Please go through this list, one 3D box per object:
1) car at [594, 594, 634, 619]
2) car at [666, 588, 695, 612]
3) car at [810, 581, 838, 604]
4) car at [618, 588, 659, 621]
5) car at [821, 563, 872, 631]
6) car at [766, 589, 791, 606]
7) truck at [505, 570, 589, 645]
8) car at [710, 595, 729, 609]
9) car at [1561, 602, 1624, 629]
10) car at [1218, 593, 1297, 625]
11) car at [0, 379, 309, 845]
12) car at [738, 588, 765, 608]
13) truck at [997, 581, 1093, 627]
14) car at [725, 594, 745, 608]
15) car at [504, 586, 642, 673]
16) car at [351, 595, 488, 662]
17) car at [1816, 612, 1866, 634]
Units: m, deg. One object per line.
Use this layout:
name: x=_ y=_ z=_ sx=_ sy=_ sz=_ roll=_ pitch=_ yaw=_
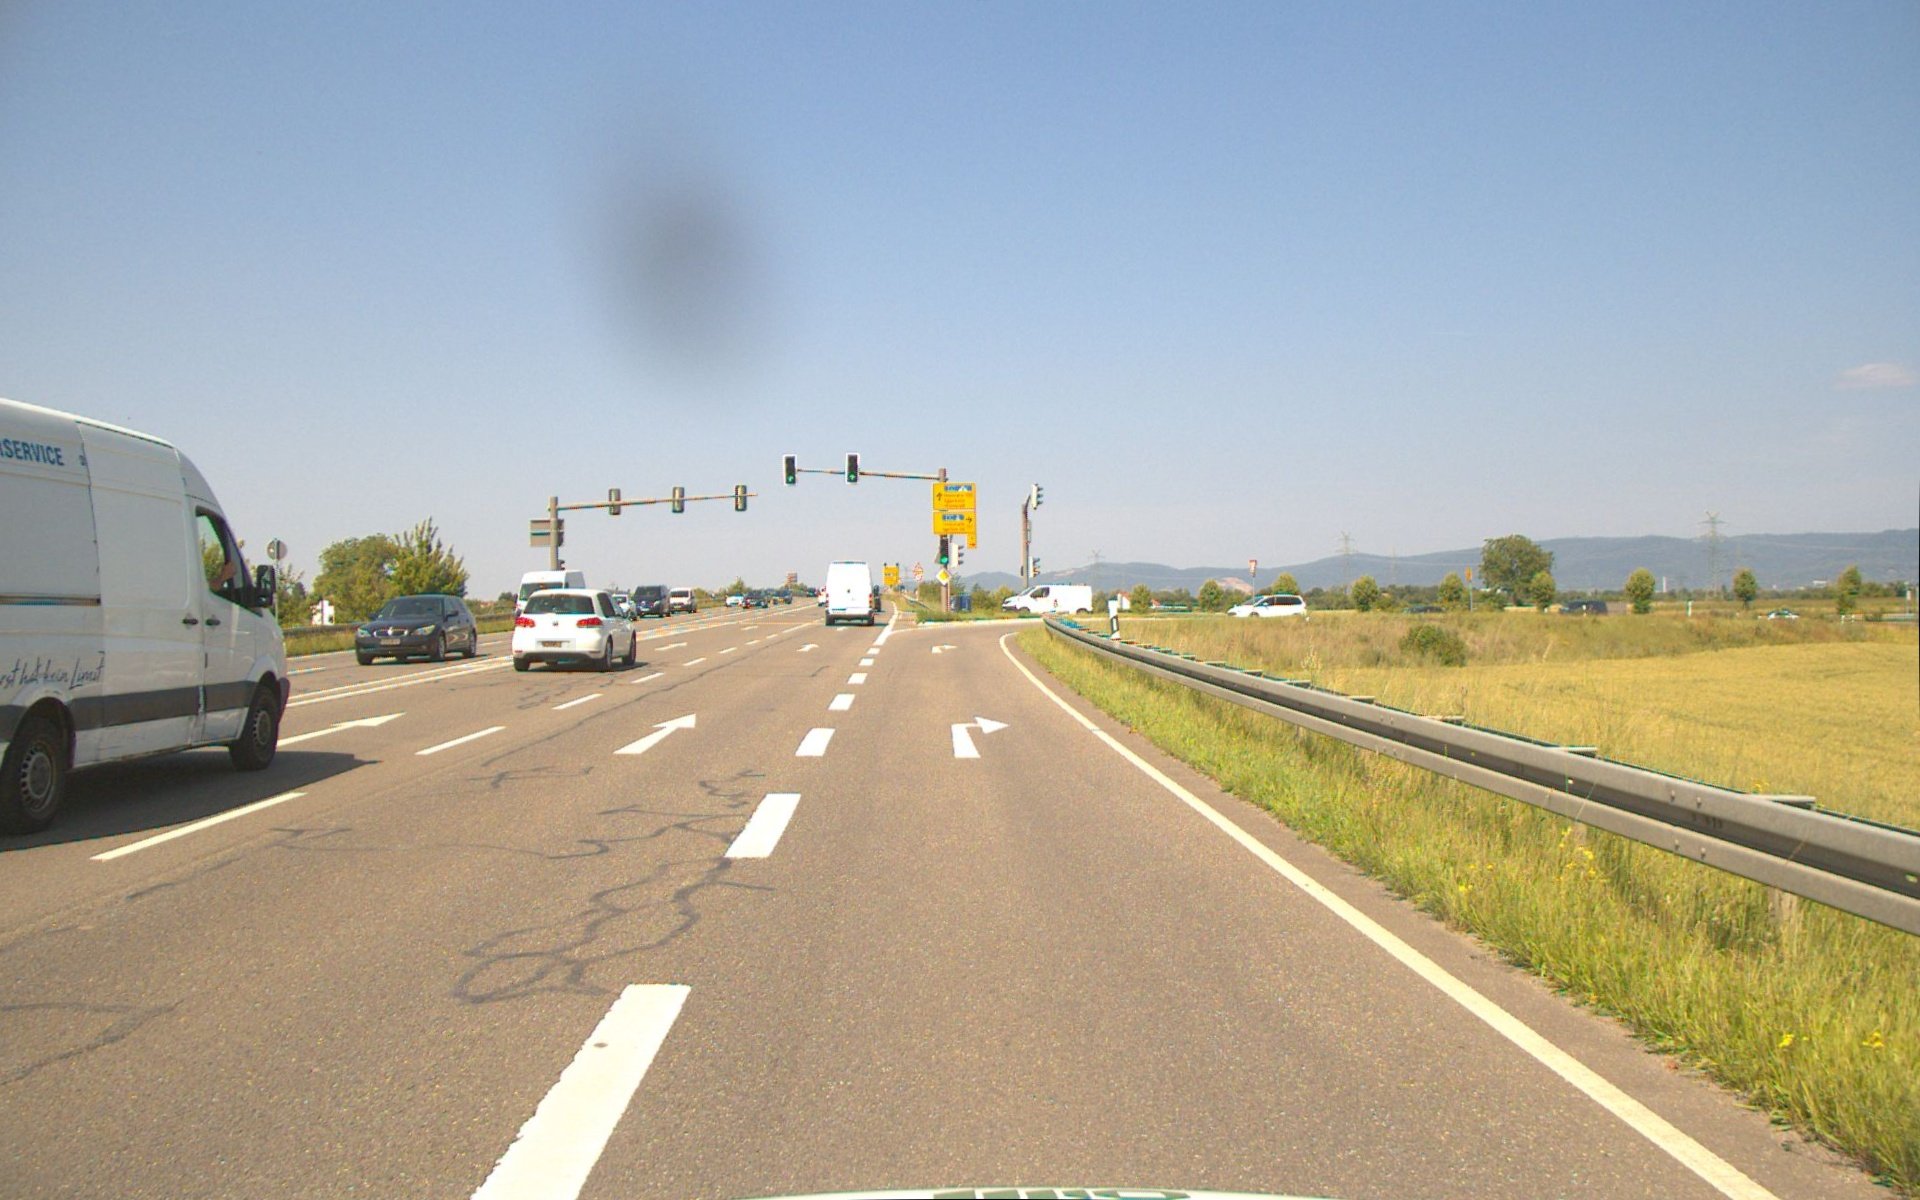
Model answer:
car: x=-18.495 y=0.382 z=88.508 sx=1.433 sy=1.296 sz=3.332 roll=0 pitch=-1 yaw=-1
car: x=-19.660 y=0.026 z=116.421 sx=1.569 sy=1.610 sz=3.332 roll=0 pitch=-1 yaw=-1
car: x=-10.885 y=-0.557 z=132.570 sx=1.953 sy=1.733 sz=4.273 roll=1 pitch=-1 yaw=-2
car: x=-19.318 y=0.280 z=99.617 sx=1.835 sy=1.920 sz=3.332 roll=0 pitch=-1 yaw=-1
car: x=-4.684 y=-0.093 z=68.861 sx=1.953 sy=2.742 sz=4.967 roll=0 pitch=0 yaw=-2
car: x=-18.401 y=-0.269 z=167.500 sx=1.952 sy=1.646 sz=4.001 roll=1 pitch=-1 yaw=2
truck: x=-17.332 y=0.354 z=69.718 sx=2.250 sy=3.009 sz=5.281 roll=0 pitch=-1 yaw=-1
car: x=-23.723 y=0.171 z=163.269 sx=1.433 sy=1.296 sz=3.332 roll=0 pitch=-1 yaw=-1
car: x=37.593 y=0.915 z=98.274 sx=3.430 sy=1.512 sz=1.636 roll=1 pitch=-1 yaw=-26
car: x=16.592 y=0.515 z=92.148 sx=3.937 sy=1.713 sz=1.984 roll=1 pitch=-1 yaw=-26
car: x=-6.594 y=0.043 z=11.639 sx=1.998 sy=2.665 sz=5.738 roll=0 pitch=1 yaw=-3
car: x=-16.932 y=-0.134 z=134.320 sx=1.601 sy=1.512 sz=4.000 roll=1 pitch=-1 yaw=1
truck: x=4.534 y=0.232 z=88.452 sx=4.766 sy=2.361 sz=1.991 roll=1 pitch=-1 yaw=-17
car: x=-21.237 y=0.087 z=156.122 sx=1.433 sy=1.296 sz=3.332 roll=0 pitch=-1 yaw=-1
car: x=-7.248 y=0.509 z=31.375 sx=1.763 sy=1.534 sz=4.194 roll=0 pitch=0 yaw=-2
car: x=-12.216 y=0.654 z=37.624 sx=1.819 sy=1.448 sz=3.999 roll=0 pitch=-1 yaw=-1
car: x=62.410 y=1.607 z=117.175 sx=3.439 sy=1.512 sz=1.631 roll=1 pitch=-1 yaw=-32
